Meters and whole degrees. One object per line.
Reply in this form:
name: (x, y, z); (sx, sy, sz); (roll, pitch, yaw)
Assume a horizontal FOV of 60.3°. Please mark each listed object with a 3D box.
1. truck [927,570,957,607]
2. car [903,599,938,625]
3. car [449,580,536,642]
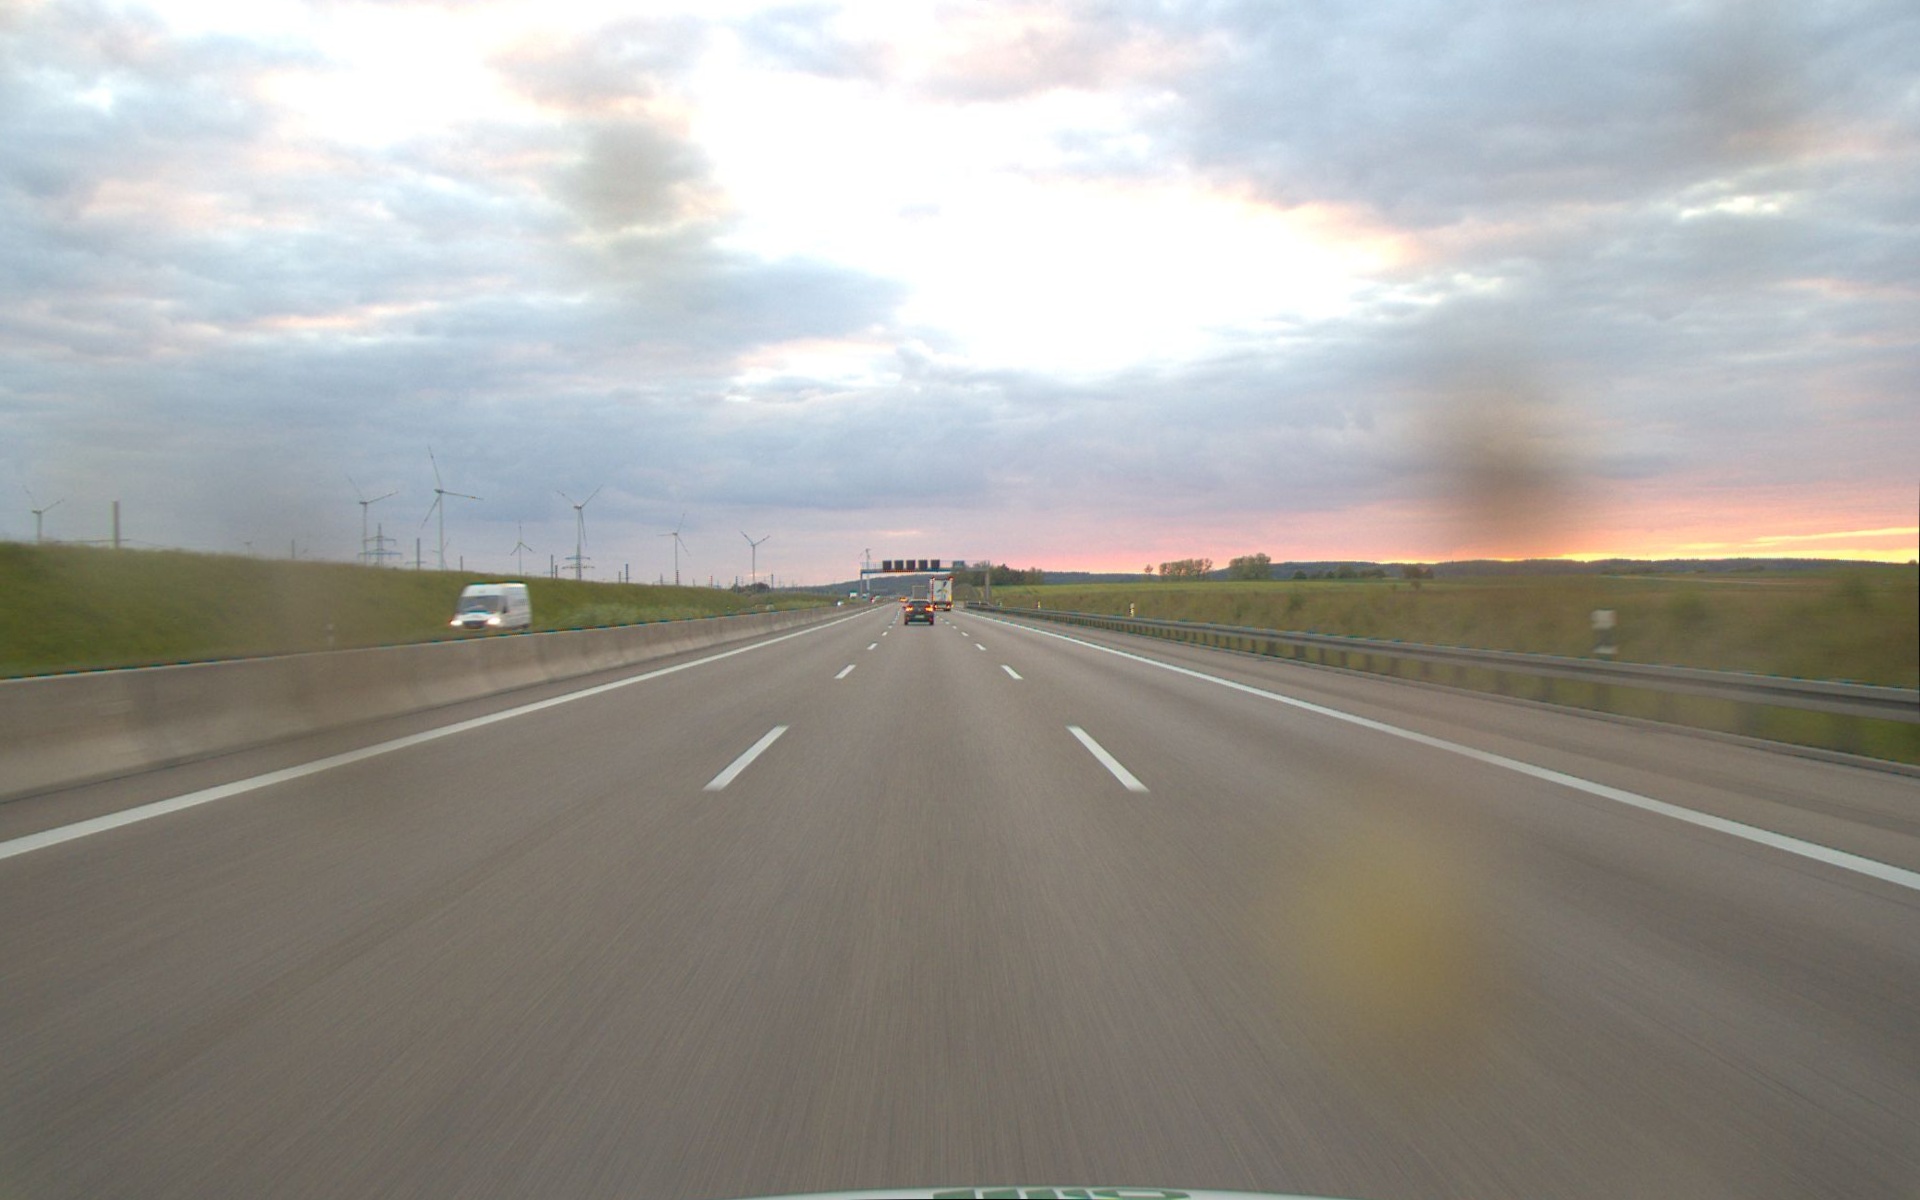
truck: (-2.417, -1.485, 213.480); (3.601, 4.644, 10.977); (-1, 0, -2)
car: (-2.254, 0.677, 96.041); (1.947, 1.454, 3.999); (-1, 0, -1)
car: (-20.632, 0.461, 73.378); (1.953, 2.591, 7.375); (-1, 0, -2)
